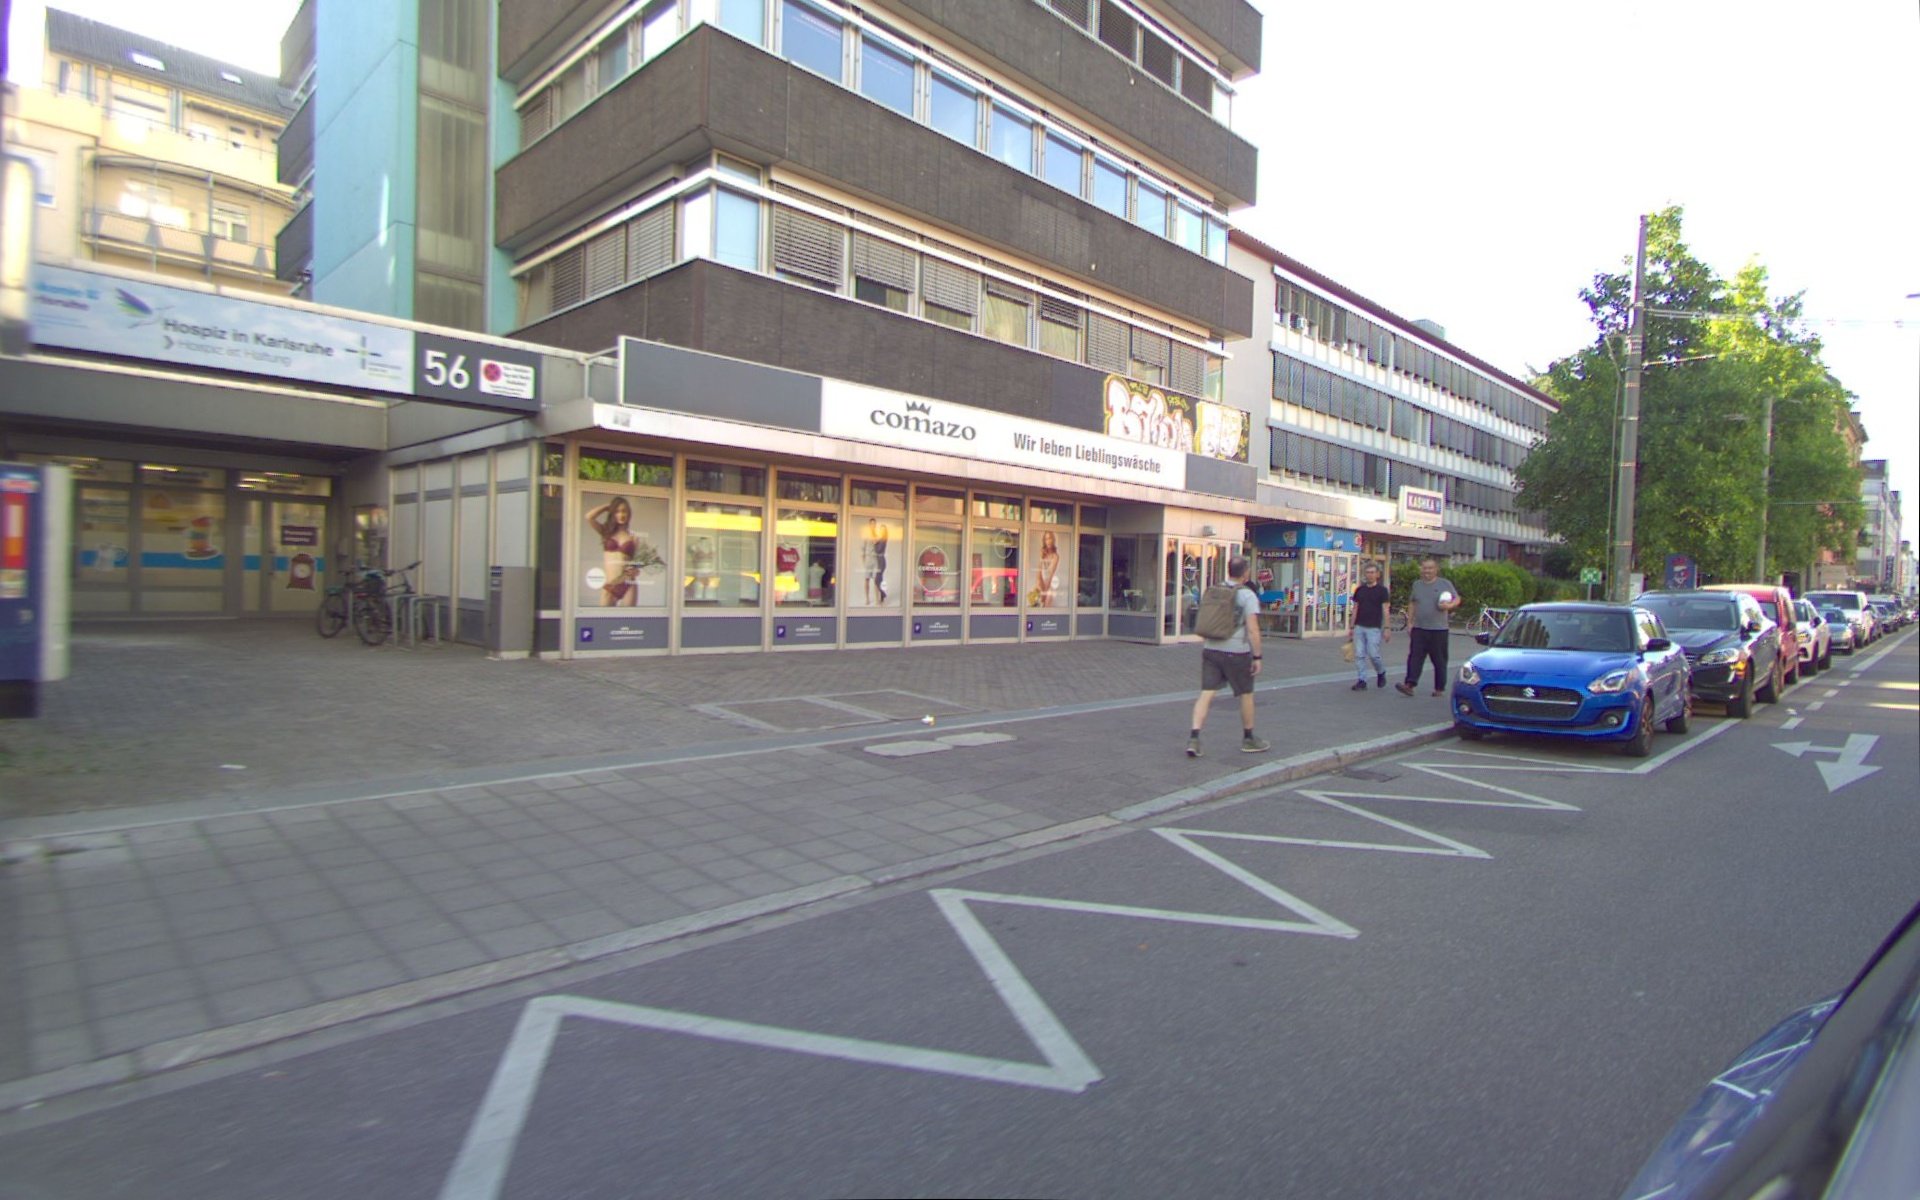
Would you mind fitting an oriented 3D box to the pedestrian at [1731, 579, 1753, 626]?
[{"bbox_3d":[29.801,0.096,38.579,0.430,1.734,0.493,0,4,-45],"label":"pedestrian"}]

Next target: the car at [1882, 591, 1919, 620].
[{"bbox_3d":[62.508,0.320,67.243,1.693,1.866,4.620,1,1,44],"label":"car"}]

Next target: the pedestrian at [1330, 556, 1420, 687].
[{"bbox_3d":[5.937,0.286,14.466,0.811,1.778,1.016,3,2,45],"label":"pedestrian"}]

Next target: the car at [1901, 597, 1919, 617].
[{"bbox_3d":[70.970,0.517,75.215,1.417,1.451,3.810,1,1,44],"label":"car"}]

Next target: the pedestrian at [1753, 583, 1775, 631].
[{"bbox_3d":[30.238,0.255,38.053,0.430,1.734,0.493,0,4,-45],"label":"pedestrian"}]

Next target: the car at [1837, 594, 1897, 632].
[{"bbox_3d":[38.639,0.524,43.089,3.835,1.513,1.595,0,1,-43],"label":"car"}]

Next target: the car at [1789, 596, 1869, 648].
[{"bbox_3d":[26.557,0.621,30.895,1.674,1.422,4.102,0,1,43],"label":"car"}]

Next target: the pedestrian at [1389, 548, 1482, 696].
[{"bbox_3d":[6.518,0.271,13.874,0.794,1.922,1.016,3,2,45],"label":"pedestrian"}]

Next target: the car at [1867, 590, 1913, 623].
[{"bbox_3d":[51.691,0.336,56.215,1.780,1.767,4.403,1,1,44],"label":"car"}]

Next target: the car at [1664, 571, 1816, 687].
[{"bbox_3d":[13.987,0.434,18.054,1.676,1.831,4.181,1,1,44],"label":"car"}]

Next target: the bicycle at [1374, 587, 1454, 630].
[{"bbox_3d":[13.356,0.235,29.778,2.011,1.109,0.628,4,2,39],"label":"bicycle"}]

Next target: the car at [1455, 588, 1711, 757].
[{"bbox_3d":[6.860,0.650,10.990,1.637,1.511,3.735,0,0,44],"label":"car"}]

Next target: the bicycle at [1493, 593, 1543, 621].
[{"bbox_3d":[21.248,0.269,38.551,1.598,0.971,0.366,2,2,17],"label":"bicycle"}]

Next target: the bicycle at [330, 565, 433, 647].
[{"bbox_3d":[-8.225,0.062,14.454,0.425,1.098,1.414,2,1,13],"label":"bicycle"}]

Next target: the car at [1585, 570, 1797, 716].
[{"bbox_3d":[10.608,0.477,14.545,1.821,1.779,4.403,1,1,45],"label":"car"}]

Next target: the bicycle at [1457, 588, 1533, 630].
[{"bbox_3d":[15.430,0.255,29.220,1.882,1.109,0.462,3,3,44],"label":"bicycle"}]

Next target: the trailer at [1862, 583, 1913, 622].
[{"bbox_3d":[54.856,0.114,59.821,5.225,2.176,1.781,0,1,-43],"label":"trailer"}]

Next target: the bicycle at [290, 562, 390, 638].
[{"bbox_3d":[-9.441,-0.014,15.462,0.425,1.098,1.414,2,1,13],"label":"bicycle"}]

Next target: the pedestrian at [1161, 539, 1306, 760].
[{"bbox_3d":[2.345,0.376,8.664,0.788,1.759,0.930,3,2,45],"label":"pedestrian"}]

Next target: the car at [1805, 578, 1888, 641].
[{"bbox_3d":[31.222,0.295,35.595,4.825,2.047,1.878,0,1,-45],"label":"car"}]

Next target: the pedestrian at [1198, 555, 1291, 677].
[{"bbox_3d":[4.343,0.223,15.454,0.901,1.734,1.016,6,4,45],"label":"pedestrian"}]

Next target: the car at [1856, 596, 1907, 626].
[{"bbox_3d":[47.400,0.535,52.053,1.780,1.446,4.144,1,1,44],"label":"car"}]

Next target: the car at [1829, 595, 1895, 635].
[{"bbox_3d":[35.481,0.549,39.772,3.847,1.511,1.684,0,0,-44],"label":"car"}]

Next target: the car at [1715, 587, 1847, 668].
[{"bbox_3d":[18.150,0.538,22.310,4.255,1.616,1.788,0,0,-44],"label":"car"}]
